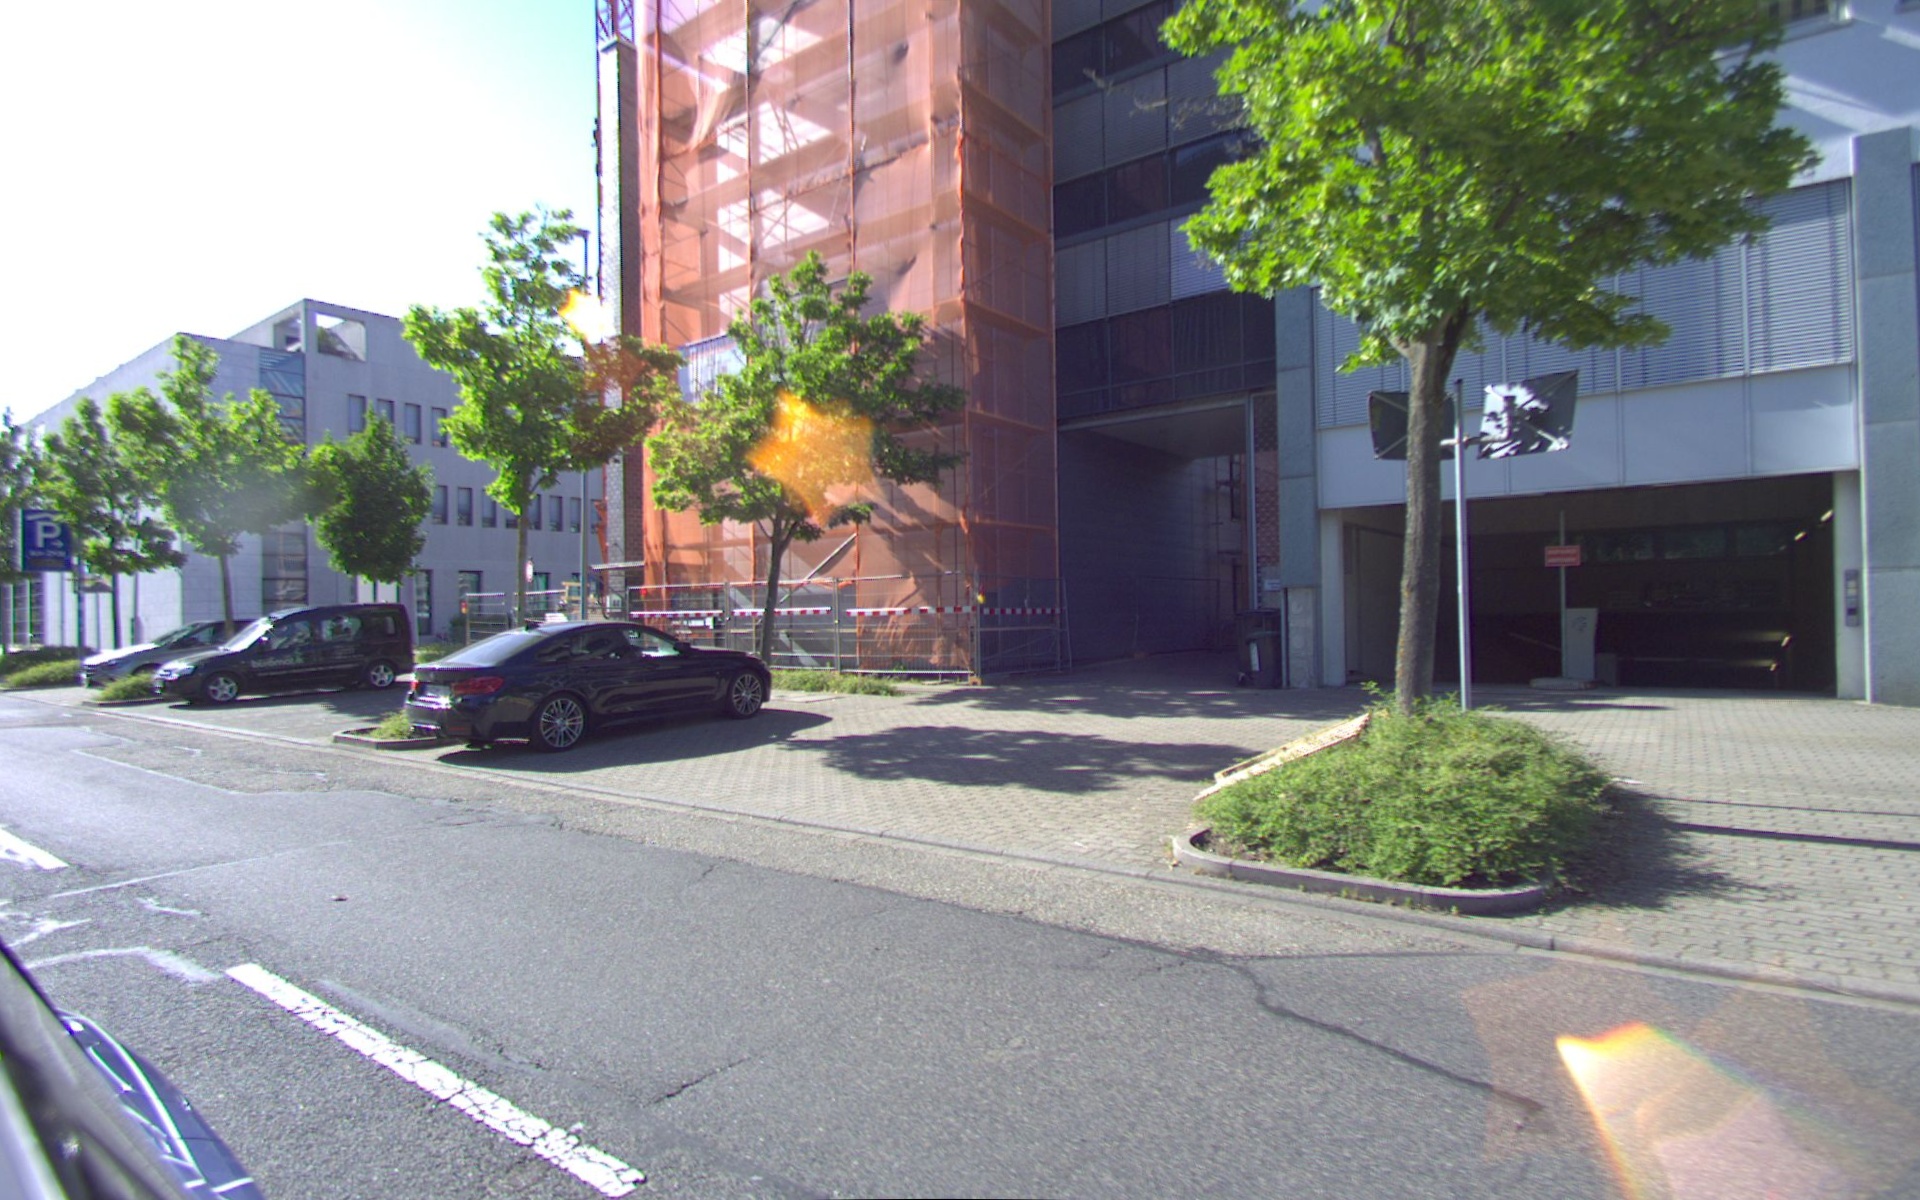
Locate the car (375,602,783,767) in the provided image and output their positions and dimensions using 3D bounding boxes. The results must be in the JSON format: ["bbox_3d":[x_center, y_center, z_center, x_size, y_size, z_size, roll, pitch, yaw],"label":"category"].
[{"bbox_3d":[-4.428,0.870,12.449,1.972,1.442,4.351,-2,2,33],"label":"car"}]

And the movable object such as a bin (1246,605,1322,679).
[{"bbox_3d":[5.952,0.754,18.576,0.913,1.290,1.224,-2,-2,40],"label":"movable object such as a bin"}]

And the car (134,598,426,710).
[{"bbox_3d":[-13.142,0.958,19.816,1.845,1.758,4.344,-2,2,38],"label":"car"}]

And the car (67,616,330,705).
[{"bbox_3d":[-16.730,1.249,22.434,1.691,1.525,4.344,-2,2,38],"label":"car"}]

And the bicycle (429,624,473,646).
[{"bbox_3d":[-29.616,2.050,58.939,0.715,1.219,2.238,-2,-2,32],"label":"bicycle"}]

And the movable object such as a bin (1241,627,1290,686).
[{"bbox_3d":[4.935,0.905,16.350,0.610,0.934,0.482,-2,-2,40],"label":"movable object such as a bin"}]

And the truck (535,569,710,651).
[{"bbox_3d":[-12.204,0.395,37.028,2.266,2.751,5.785,-2,-2,39],"label":"truck"}]

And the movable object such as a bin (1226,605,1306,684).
[{"bbox_3d":[5.252,0.745,17.347,0.913,1.290,1.224,-2,-2,40],"label":"movable object such as a bin"}]
